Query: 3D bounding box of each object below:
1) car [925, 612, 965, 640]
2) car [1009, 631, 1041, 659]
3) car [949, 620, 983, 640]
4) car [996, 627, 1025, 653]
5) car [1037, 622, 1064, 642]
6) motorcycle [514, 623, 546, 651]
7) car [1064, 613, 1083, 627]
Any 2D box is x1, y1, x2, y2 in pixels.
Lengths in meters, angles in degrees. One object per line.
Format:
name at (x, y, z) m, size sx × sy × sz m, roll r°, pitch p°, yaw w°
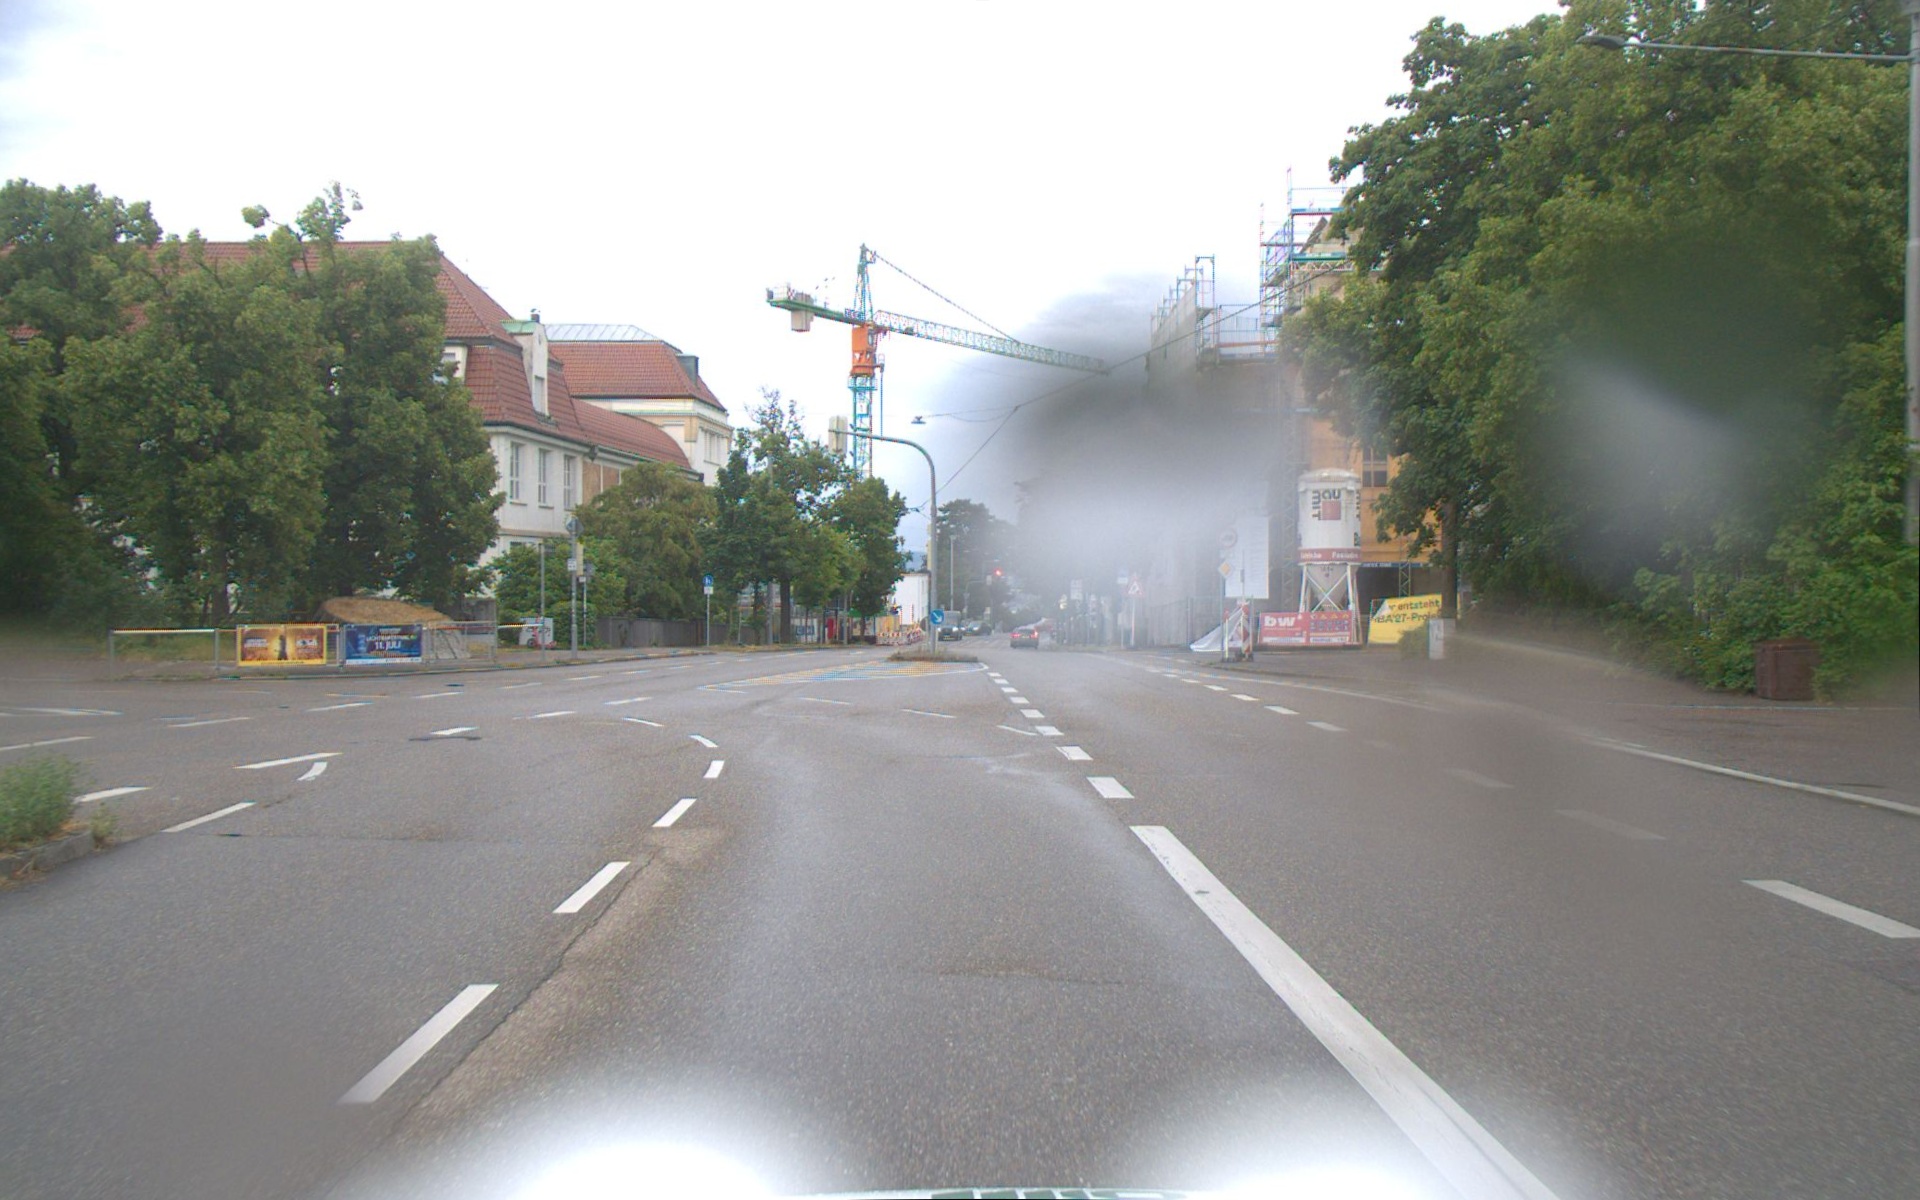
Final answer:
car at (-1.312, 2.372, 150.658) m, size 2.787 × 2.445 × 6.192 m, roll 1°, pitch 0°, yaw 8°
car at (4.515, 3.143, 115.709) m, size 1.953 × 1.780 × 3.999 m, roll -1°, pitch 0°, yaw -2°
car at (0.637, 2.948, 163.475) m, size 1.953 × 1.914 × 3.999 m, roll 0°, pitch 0°, yaw 24°
car at (3.778, 2.979, 123.897) m, size 1.953 × 1.780 × 3.999 m, roll -1°, pitch 0°, yaw -2°
car at (8.864, 3.132, 161.633) m, size 1.951 × 1.780 × 4.004 m, roll -1°, pitch 0°, yaw 12°
motorcycle at (-14.327, 1.224, 55.152) m, size 0.832 × 0.893 × 0.877 m, roll 1°, pitch 0°, yaw -1°
car at (14.410, 2.535, 210.036) m, size 1.951 × 1.780 × 4.004 m, roll -1°, pitch 0°, yaw 10°
